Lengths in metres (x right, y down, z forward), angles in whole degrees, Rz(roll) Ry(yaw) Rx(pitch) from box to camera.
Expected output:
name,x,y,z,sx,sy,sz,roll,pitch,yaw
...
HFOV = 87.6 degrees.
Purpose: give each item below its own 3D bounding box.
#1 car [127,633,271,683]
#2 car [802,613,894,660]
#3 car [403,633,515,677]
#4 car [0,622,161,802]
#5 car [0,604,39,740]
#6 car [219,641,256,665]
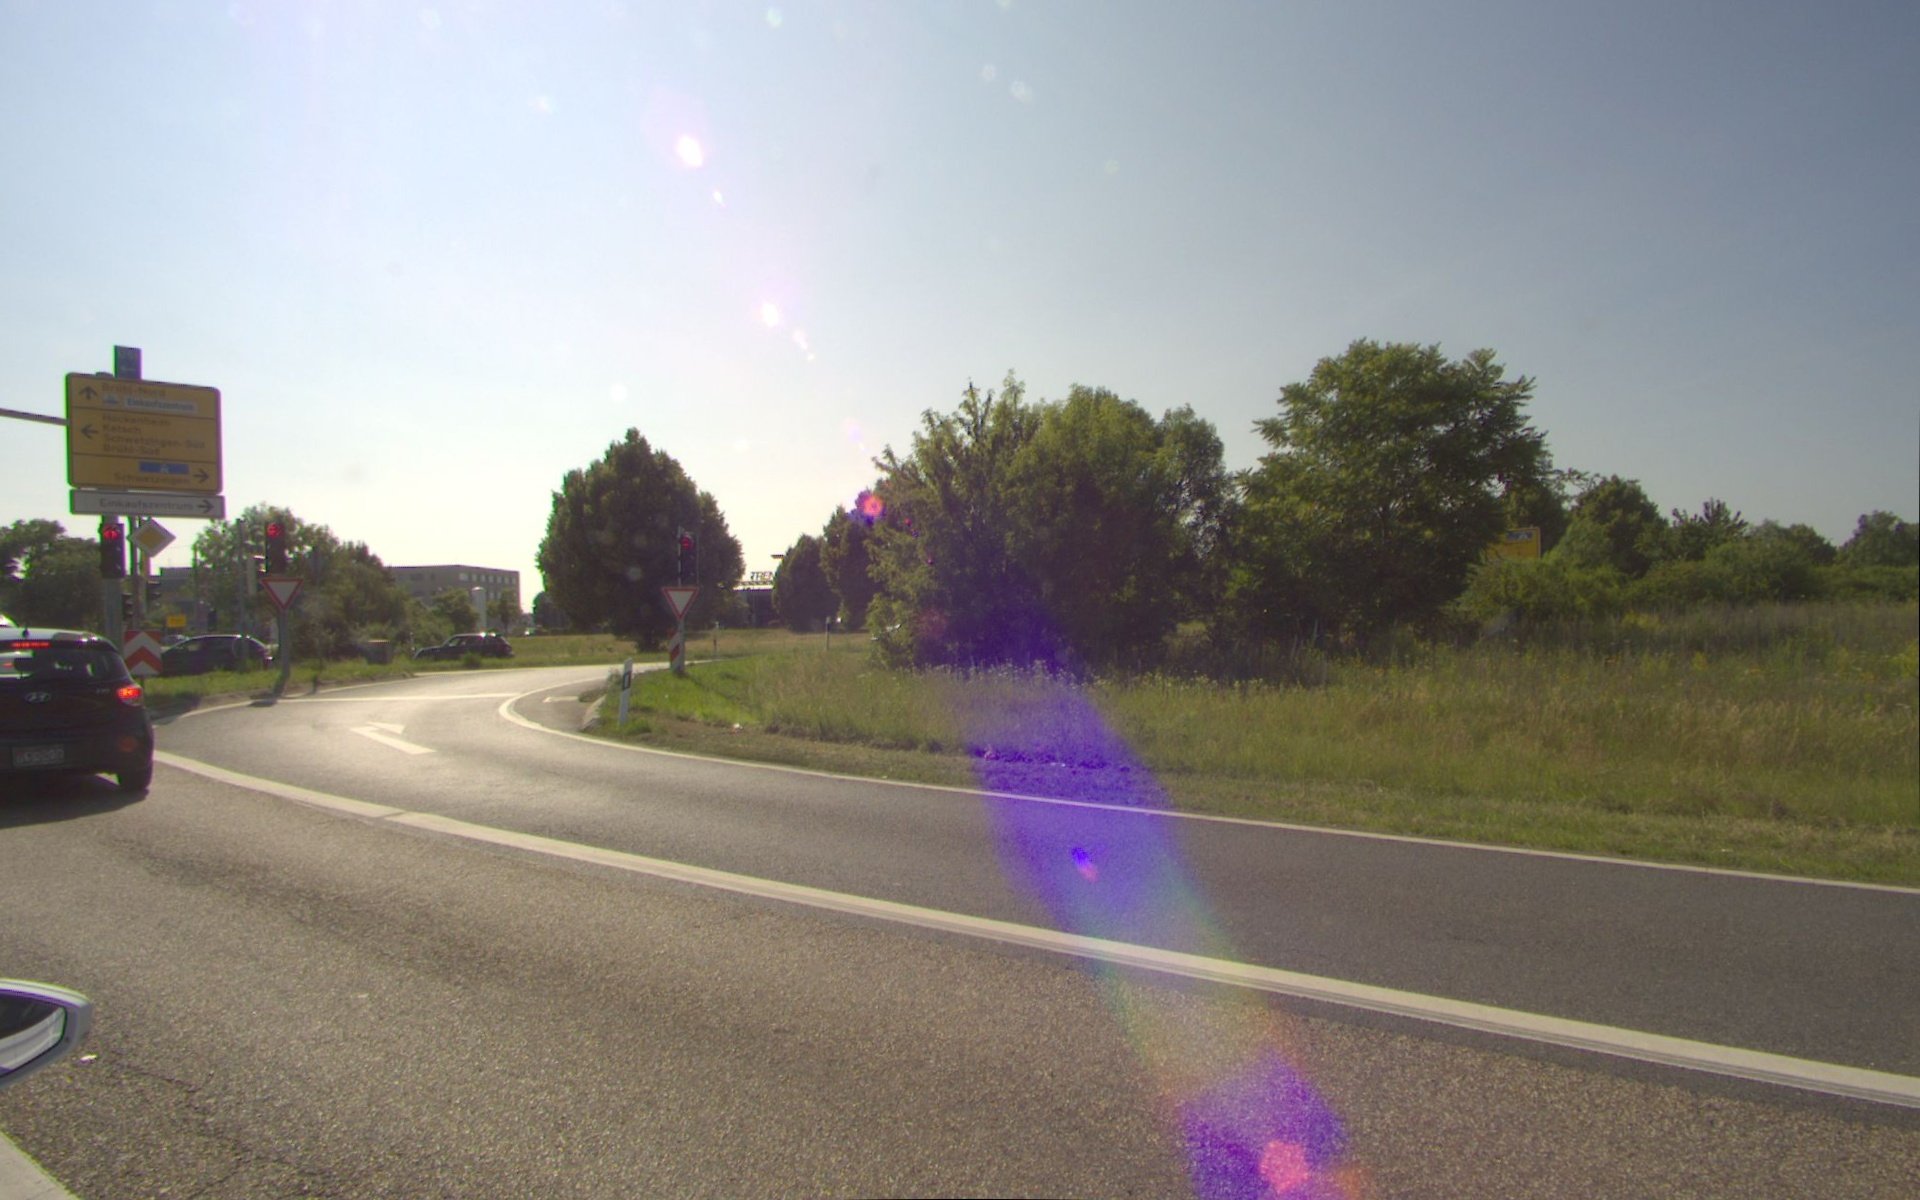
name,x,y,z,sx,sy,sz,roll,pitch,yaw
car,-24.431,1.861,32.303,3.495,1.535,1.455,1,-2,-30
car,-4.893,1.608,43.842,3.698,1.977,1.688,1,-2,-30
car,-21.129,2.308,42.357,3.809,1.718,1.827,-1,0,2
car,-8.904,0.944,9.344,3.255,1.467,1.626,-1,-2,39
car,-13.672,0.929,13.300,3.705,1.698,1.626,-2,-2,39
car,-51.740,3.754,71.726,1.857,1.694,3.750,1,-3,-32
